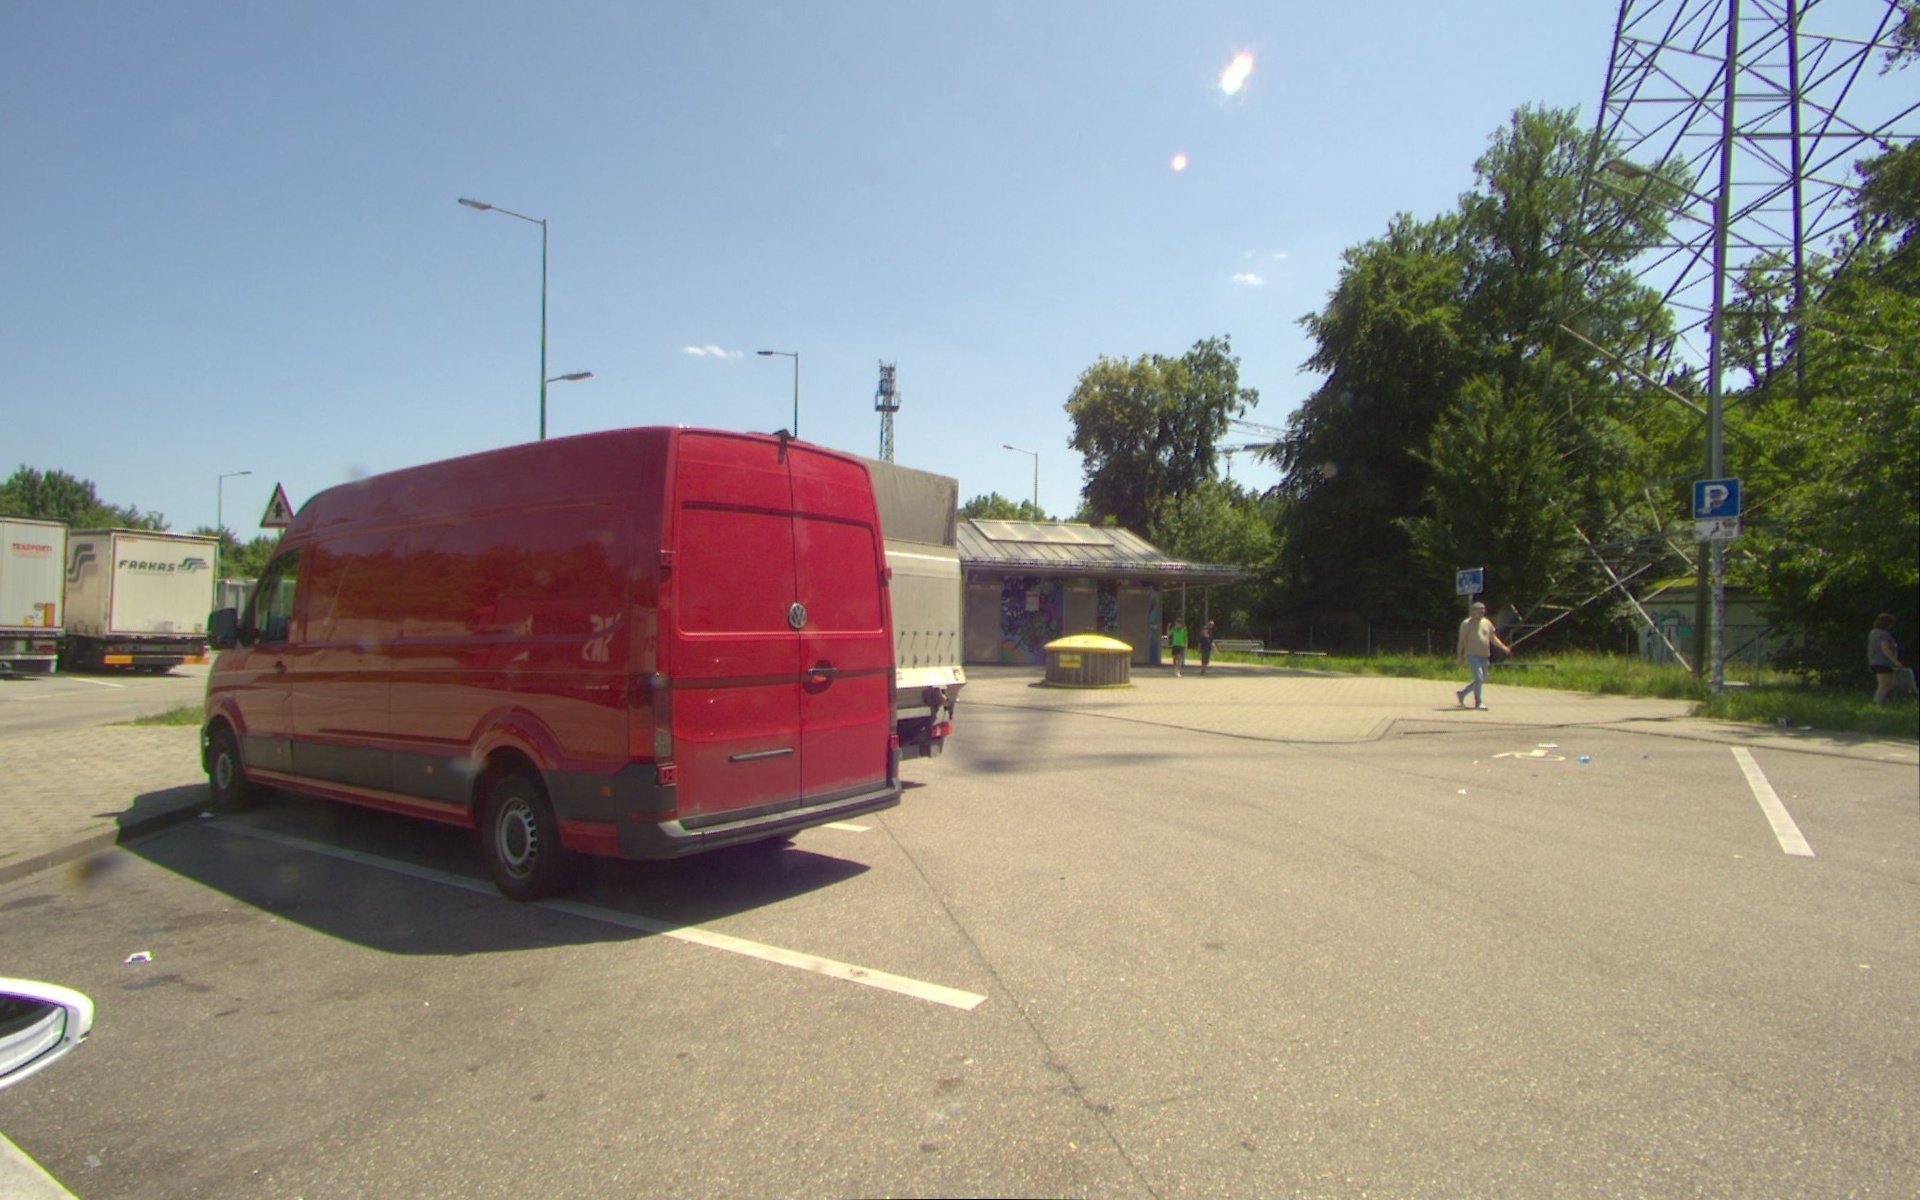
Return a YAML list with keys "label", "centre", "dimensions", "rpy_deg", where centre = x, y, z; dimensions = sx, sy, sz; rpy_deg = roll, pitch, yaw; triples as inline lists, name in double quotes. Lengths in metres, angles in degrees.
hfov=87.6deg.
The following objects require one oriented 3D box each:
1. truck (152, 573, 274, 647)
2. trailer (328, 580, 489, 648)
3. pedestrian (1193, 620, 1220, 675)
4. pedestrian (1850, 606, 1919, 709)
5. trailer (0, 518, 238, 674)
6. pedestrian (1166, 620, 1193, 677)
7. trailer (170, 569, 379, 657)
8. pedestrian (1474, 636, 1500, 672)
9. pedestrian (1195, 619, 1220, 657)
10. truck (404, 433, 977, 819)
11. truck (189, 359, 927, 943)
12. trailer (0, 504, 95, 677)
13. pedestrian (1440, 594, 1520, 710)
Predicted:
- label: "truck"
  centre: [-37.557, 0.485, 50.319]
  dimensions: [5.887, 3.406, 2.862]
  rpy_deg: [1, -2, 32]
- label: "trailer"
  centre: [-36.179, 0.859, 65.335]
  dimensions: [13.561, 3.955, 2.854]
  rpy_deg: [1, -2, 32]
- label: "pedestrian"
  centre: [6.324, 1.215, 25.664]
  dimensions: [0.532, 1.392, 0.583]
  rpy_deg: [0, -1, 0]
- label: "pedestrian"
  centre: [15.445, 0.948, 16.732]
  dimensions: [0.679, 1.670, 0.710]
  rpy_deg: [1, -1, -35]
- label: "trailer"
  centre: [-27.622, -0.160, 31.607]
  dimensions: [13.561, 4.162, 2.854]
  rpy_deg: [1, -2, 32]
- label: "pedestrian"
  centre: [5.481, 1.209, 25.017]
  dimensions: [0.532, 1.392, 0.583]
  rpy_deg: [0, -1, 0]
- label: "trailer"
  centre: [-32.485, 0.495, 47.096]
  dimensions: [13.561, 3.646, 2.854]
  rpy_deg: [1, -2, 32]
- label: "pedestrian"
  centre: [14.636, 1.506, 27.817]
  dimensions: [0.439, 0.987, 0.460]
  rpy_deg: [0, -1, -19]
- label: "pedestrian"
  centre: [10.885, 1.667, 44.032]
  dimensions: [0.802, 1.639, 0.916]
  rpy_deg: [-1, -1, 32]
- label: "truck"
  centre: [-3.093, 0.281, 10.520]
  dimensions: [6.372, 2.944, 2.411]
  rpy_deg: [-1, -2, 37]
- label: "truck"
  centre: [-3.343, 0.309, 7.336]
  dimensions: [6.372, 2.685, 2.005]
  rpy_deg: [-1, -2, 37]
- label: "trailer"
  centre: [-28.695, -0.334, 28.019]
  dimensions: [13.561, 4.162, 2.854]
  rpy_deg: [1, -2, 32]
- label: "pedestrian"
  centre: [8.928, 0.883, 17.220]
  dimensions: [0.799, 1.929, 0.920]
  rpy_deg: [0, -1, -15]
